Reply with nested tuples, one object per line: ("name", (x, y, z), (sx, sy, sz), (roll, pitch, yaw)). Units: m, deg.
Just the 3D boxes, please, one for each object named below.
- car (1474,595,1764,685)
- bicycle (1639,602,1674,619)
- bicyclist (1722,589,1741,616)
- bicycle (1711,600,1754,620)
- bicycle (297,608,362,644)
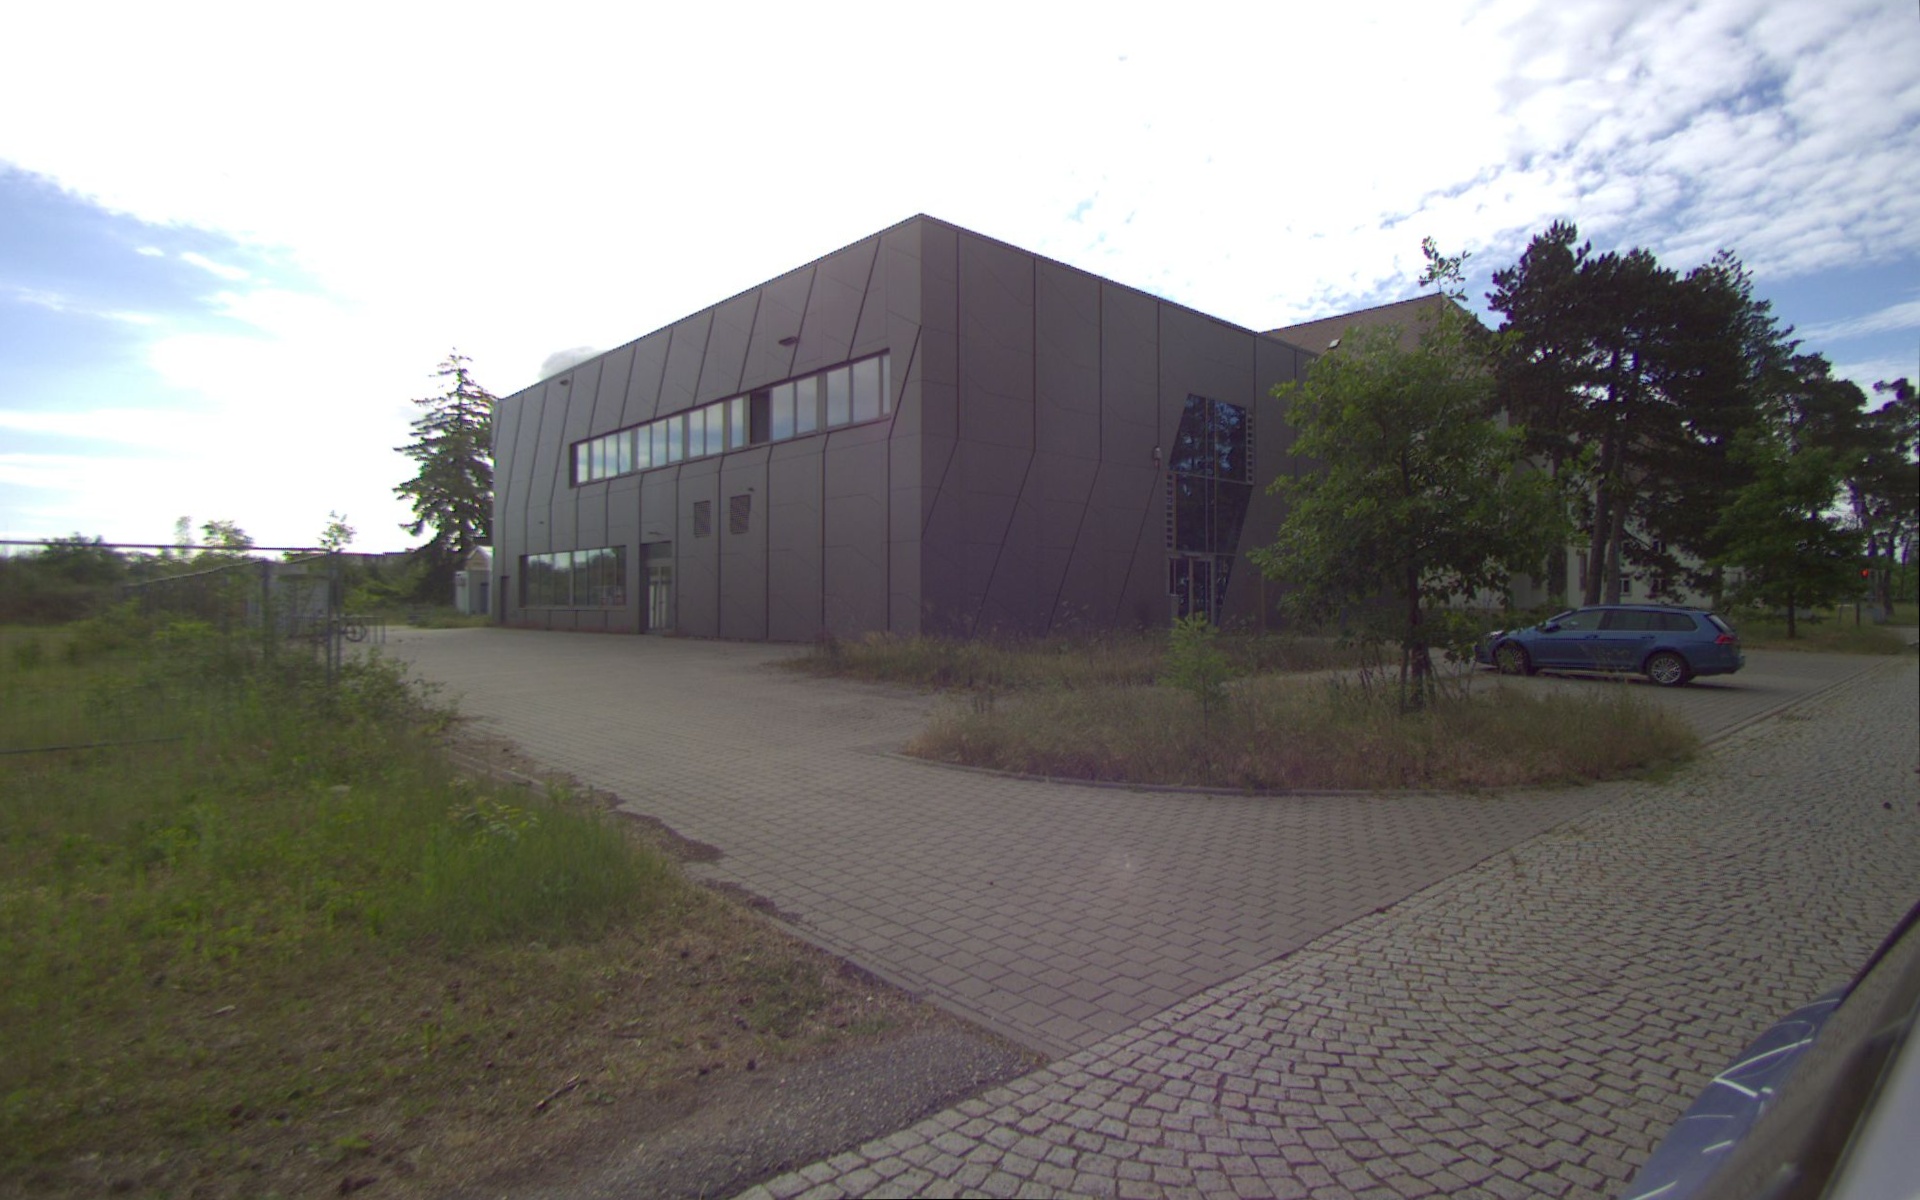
("car", (12.857, 0.696, 19.943), (4.523, 1.461, 1.794), (2, 1, 44))
("bicycle", (46.601, 0.712, 67.765), (0.563, 1.099, 1.835), (-2, 1, -39))
("bicyclist", (49.065, 0.157, 64.364), (0.912, 1.656, 0.952), (-1, -1, 36))
("bicycle", (49.092, 0.632, 64.322), (2.151, 1.292, 0.952), (0, -1, 37))
("bicycle", (-20.359, 0.832, 32.710), (1.733, 1.113, 0.521), (0, -2, -42))
